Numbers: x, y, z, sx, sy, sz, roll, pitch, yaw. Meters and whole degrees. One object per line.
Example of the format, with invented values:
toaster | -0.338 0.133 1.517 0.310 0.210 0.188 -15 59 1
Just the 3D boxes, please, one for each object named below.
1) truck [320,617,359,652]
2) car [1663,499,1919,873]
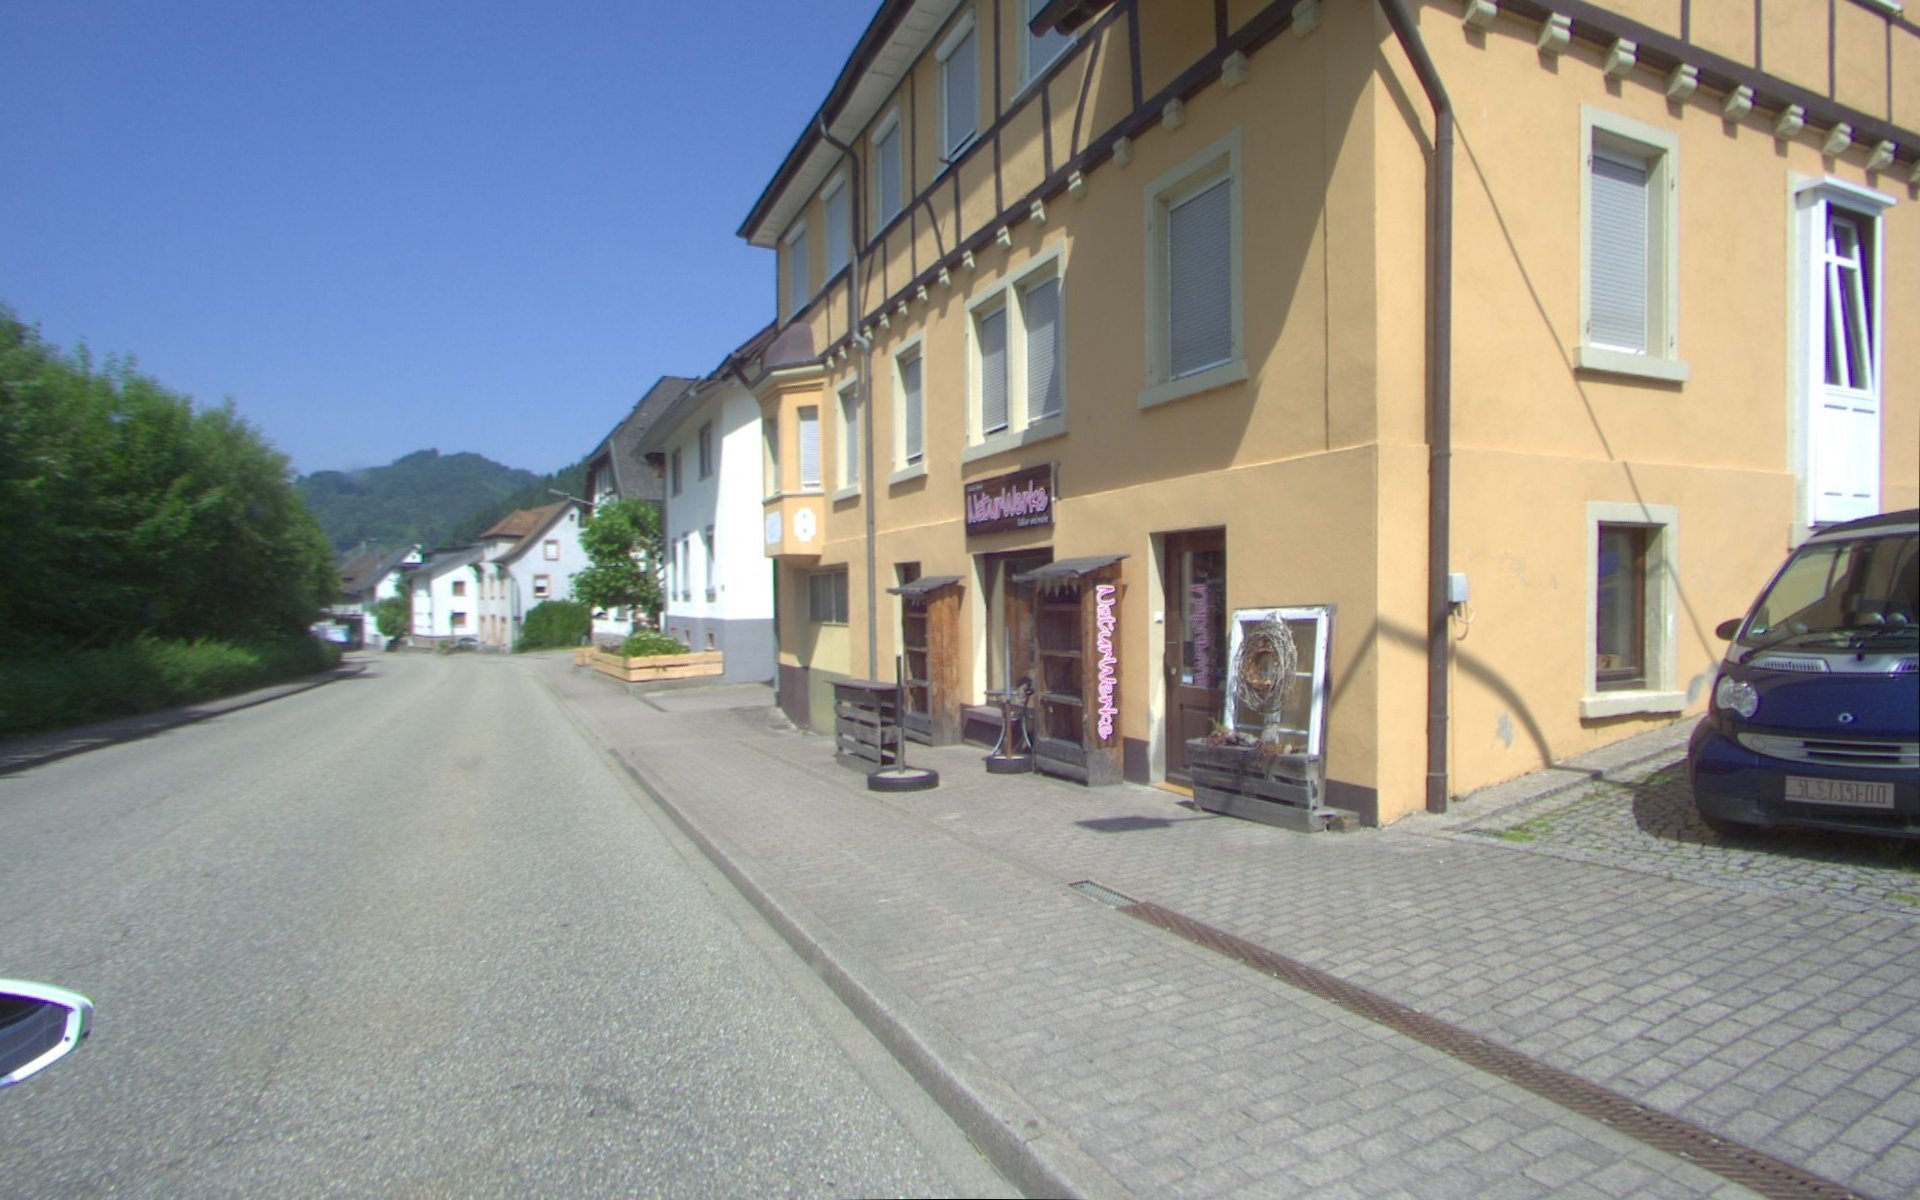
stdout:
truck | -78.109 4.434 125.929 3.330 3.831 8.386 -5 0 -36
car | 5.092 0.265 5.062 2.621 1.556 1.419 -7 1 -29
